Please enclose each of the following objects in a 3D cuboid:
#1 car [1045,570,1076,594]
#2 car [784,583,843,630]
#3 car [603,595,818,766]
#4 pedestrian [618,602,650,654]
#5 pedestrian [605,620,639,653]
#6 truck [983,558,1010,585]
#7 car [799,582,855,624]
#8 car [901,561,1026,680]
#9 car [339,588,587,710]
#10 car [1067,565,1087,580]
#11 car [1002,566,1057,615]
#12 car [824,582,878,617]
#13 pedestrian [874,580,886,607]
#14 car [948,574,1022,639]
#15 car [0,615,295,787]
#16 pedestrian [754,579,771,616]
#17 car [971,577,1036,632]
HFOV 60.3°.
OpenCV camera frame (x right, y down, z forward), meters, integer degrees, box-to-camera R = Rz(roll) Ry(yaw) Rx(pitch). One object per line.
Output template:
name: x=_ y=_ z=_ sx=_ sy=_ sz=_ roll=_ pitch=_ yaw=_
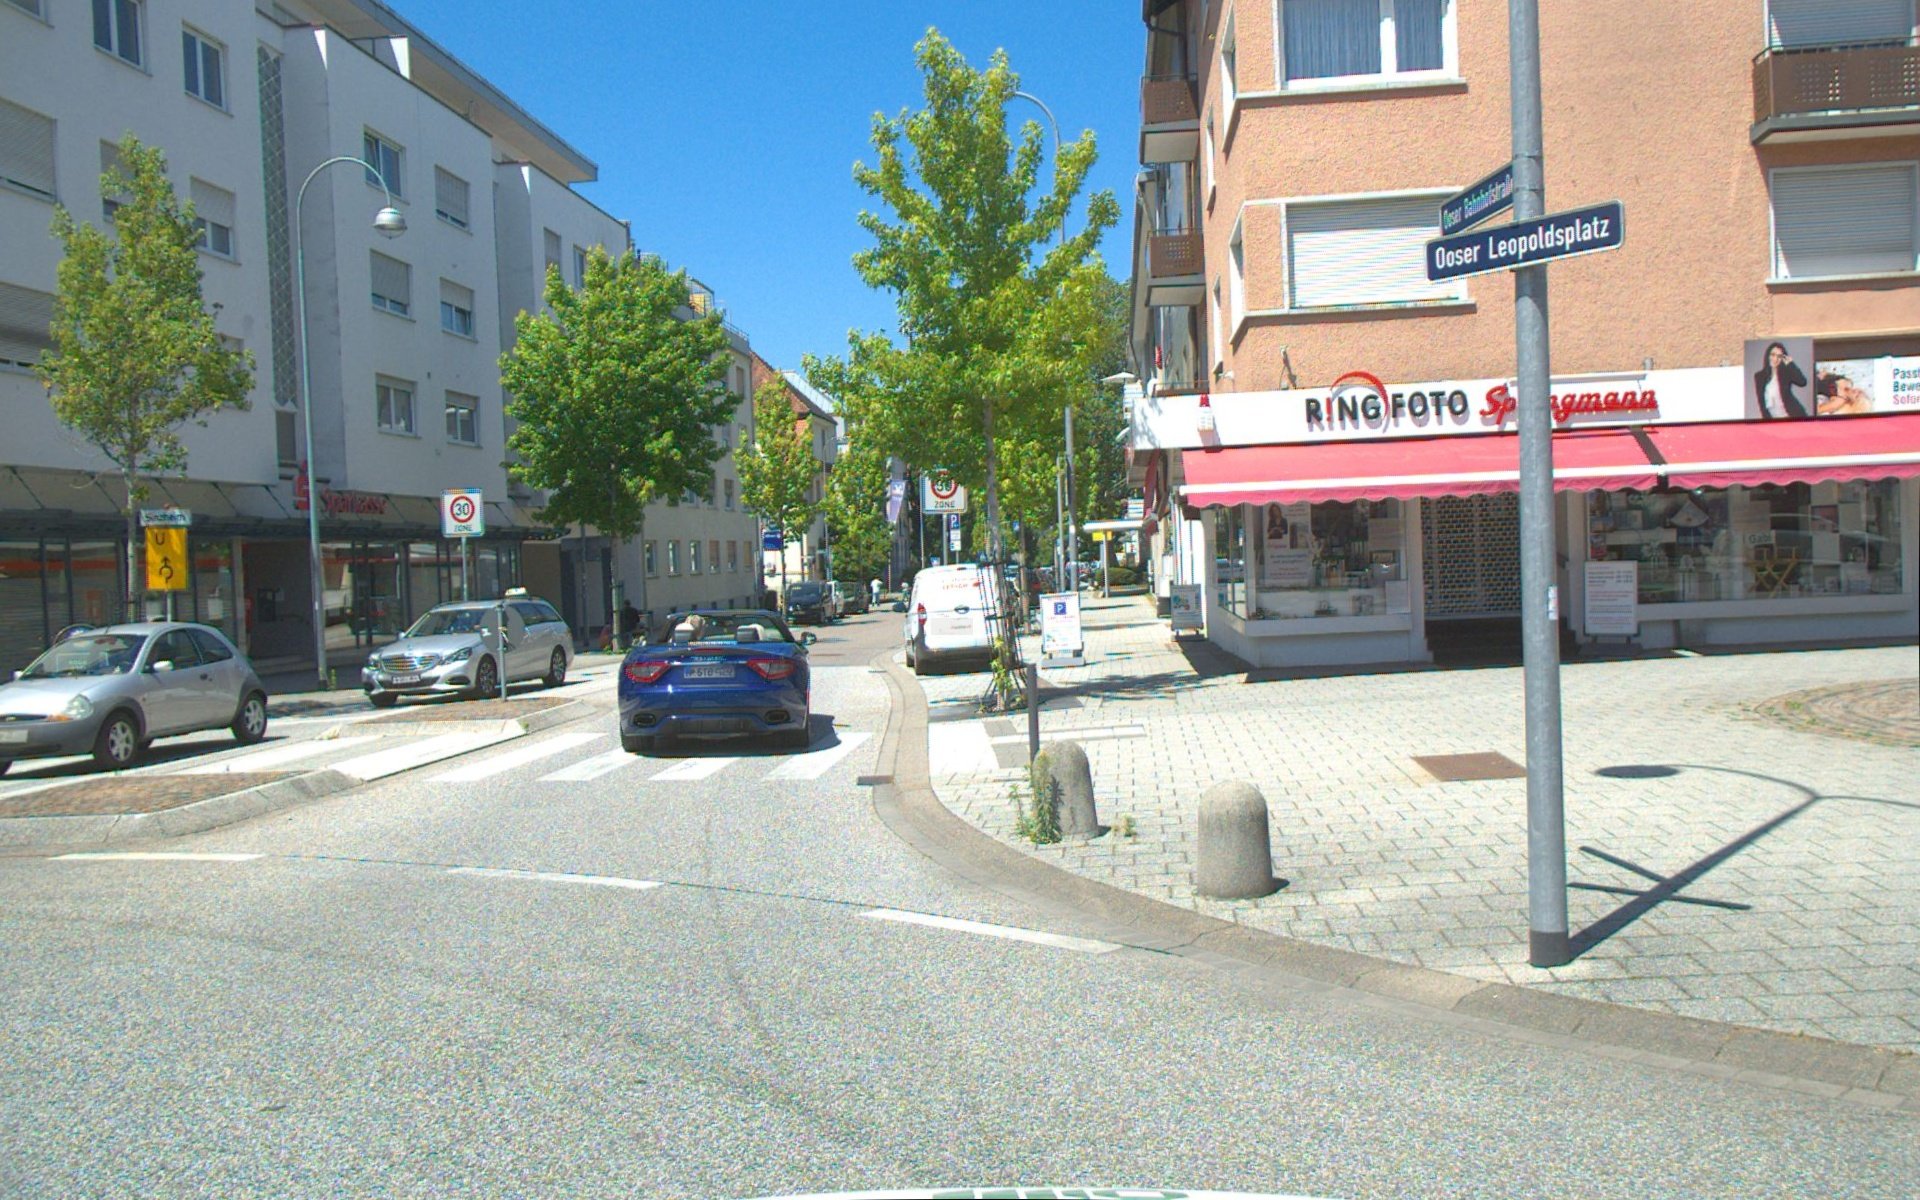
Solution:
car: x=7.297 y=-1.347 z=119.867 sx=1.935 sy=1.475 sz=4.353 roll=-4 pitch=2 yaw=6
car: x=-5.912 y=0.239 z=67.143 sx=1.692 sy=1.771 sz=4.395 roll=0 pitch=2 yaw=4
car: x=-2.600 y=0.735 z=17.619 sx=1.939 sy=1.422 sz=4.620 roll=-1 pitch=1 yaw=-7
pedestrian: x=-8.946 y=0.762 z=45.357 sx=0.555 sy=1.396 sz=0.667 roll=-3 pitch=0 yaw=14
pedestrian: x=-9.521 y=1.035 z=46.635 sx=0.650 sy=0.873 sz=0.733 roll=-3 pitch=-3 yaw=15
truck: x=3.154 y=-2.442 z=141.285 sx=1.766 sy=2.154 sz=4.719 roll=-4 pitch=1 yaw=6
car: x=-5.817 y=0.114 z=72.732 sx=1.786 sy=1.647 sz=4.395 roll=-1 pitch=2 yaw=4
car: x=-0.012 y=0.308 z=28.196 sx=1.713 sy=1.754 sz=3.907 roll=-4 pitch=1 yaw=-4
car: x=-7.718 y=0.696 z=26.297 sx=1.951 sy=1.620 sz=5.003 roll=-2 pitch=1 yaw=6
car: x=12.485 y=-2.941 z=176.606 sx=1.910 sy=1.501 sz=4.140 roll=-4 pitch=1 yaw=5
car: x=3.127 y=-0.434 z=73.195 sx=1.951 sy=1.829 sz=4.574 roll=-4 pitch=2 yaw=7
car: x=-5.177 y=-0.043 z=78.906 sx=1.717 sy=1.499 sz=4.325 roll=-1 pitch=1 yaw=8
pedestrian: x=-4.519 y=-0.348 z=93.801 sx=0.567 sy=1.500 sz=0.564 roll=-2 pitch=1 yaw=5
car: x=0.796 y=0.160 z=49.891 sx=1.727 sy=1.735 sz=4.709 roll=-4 pitch=1 yaw=6
car: x=-9.012 y=1.016 z=17.848 sx=1.663 sy=1.483 sz=3.793 roll=-4 pitch=1 yaw=8
pedestrian: x=-9.401 y=-0.129 z=78.843 sx=0.644 sy=1.709 sz=0.629 roll=-5 pitch=3 yaw=-12
car: x=1.492 y=0.122 z=55.237 sx=1.686 sy=1.610 sz=4.229 roll=-4 pitch=1 yaw=7
